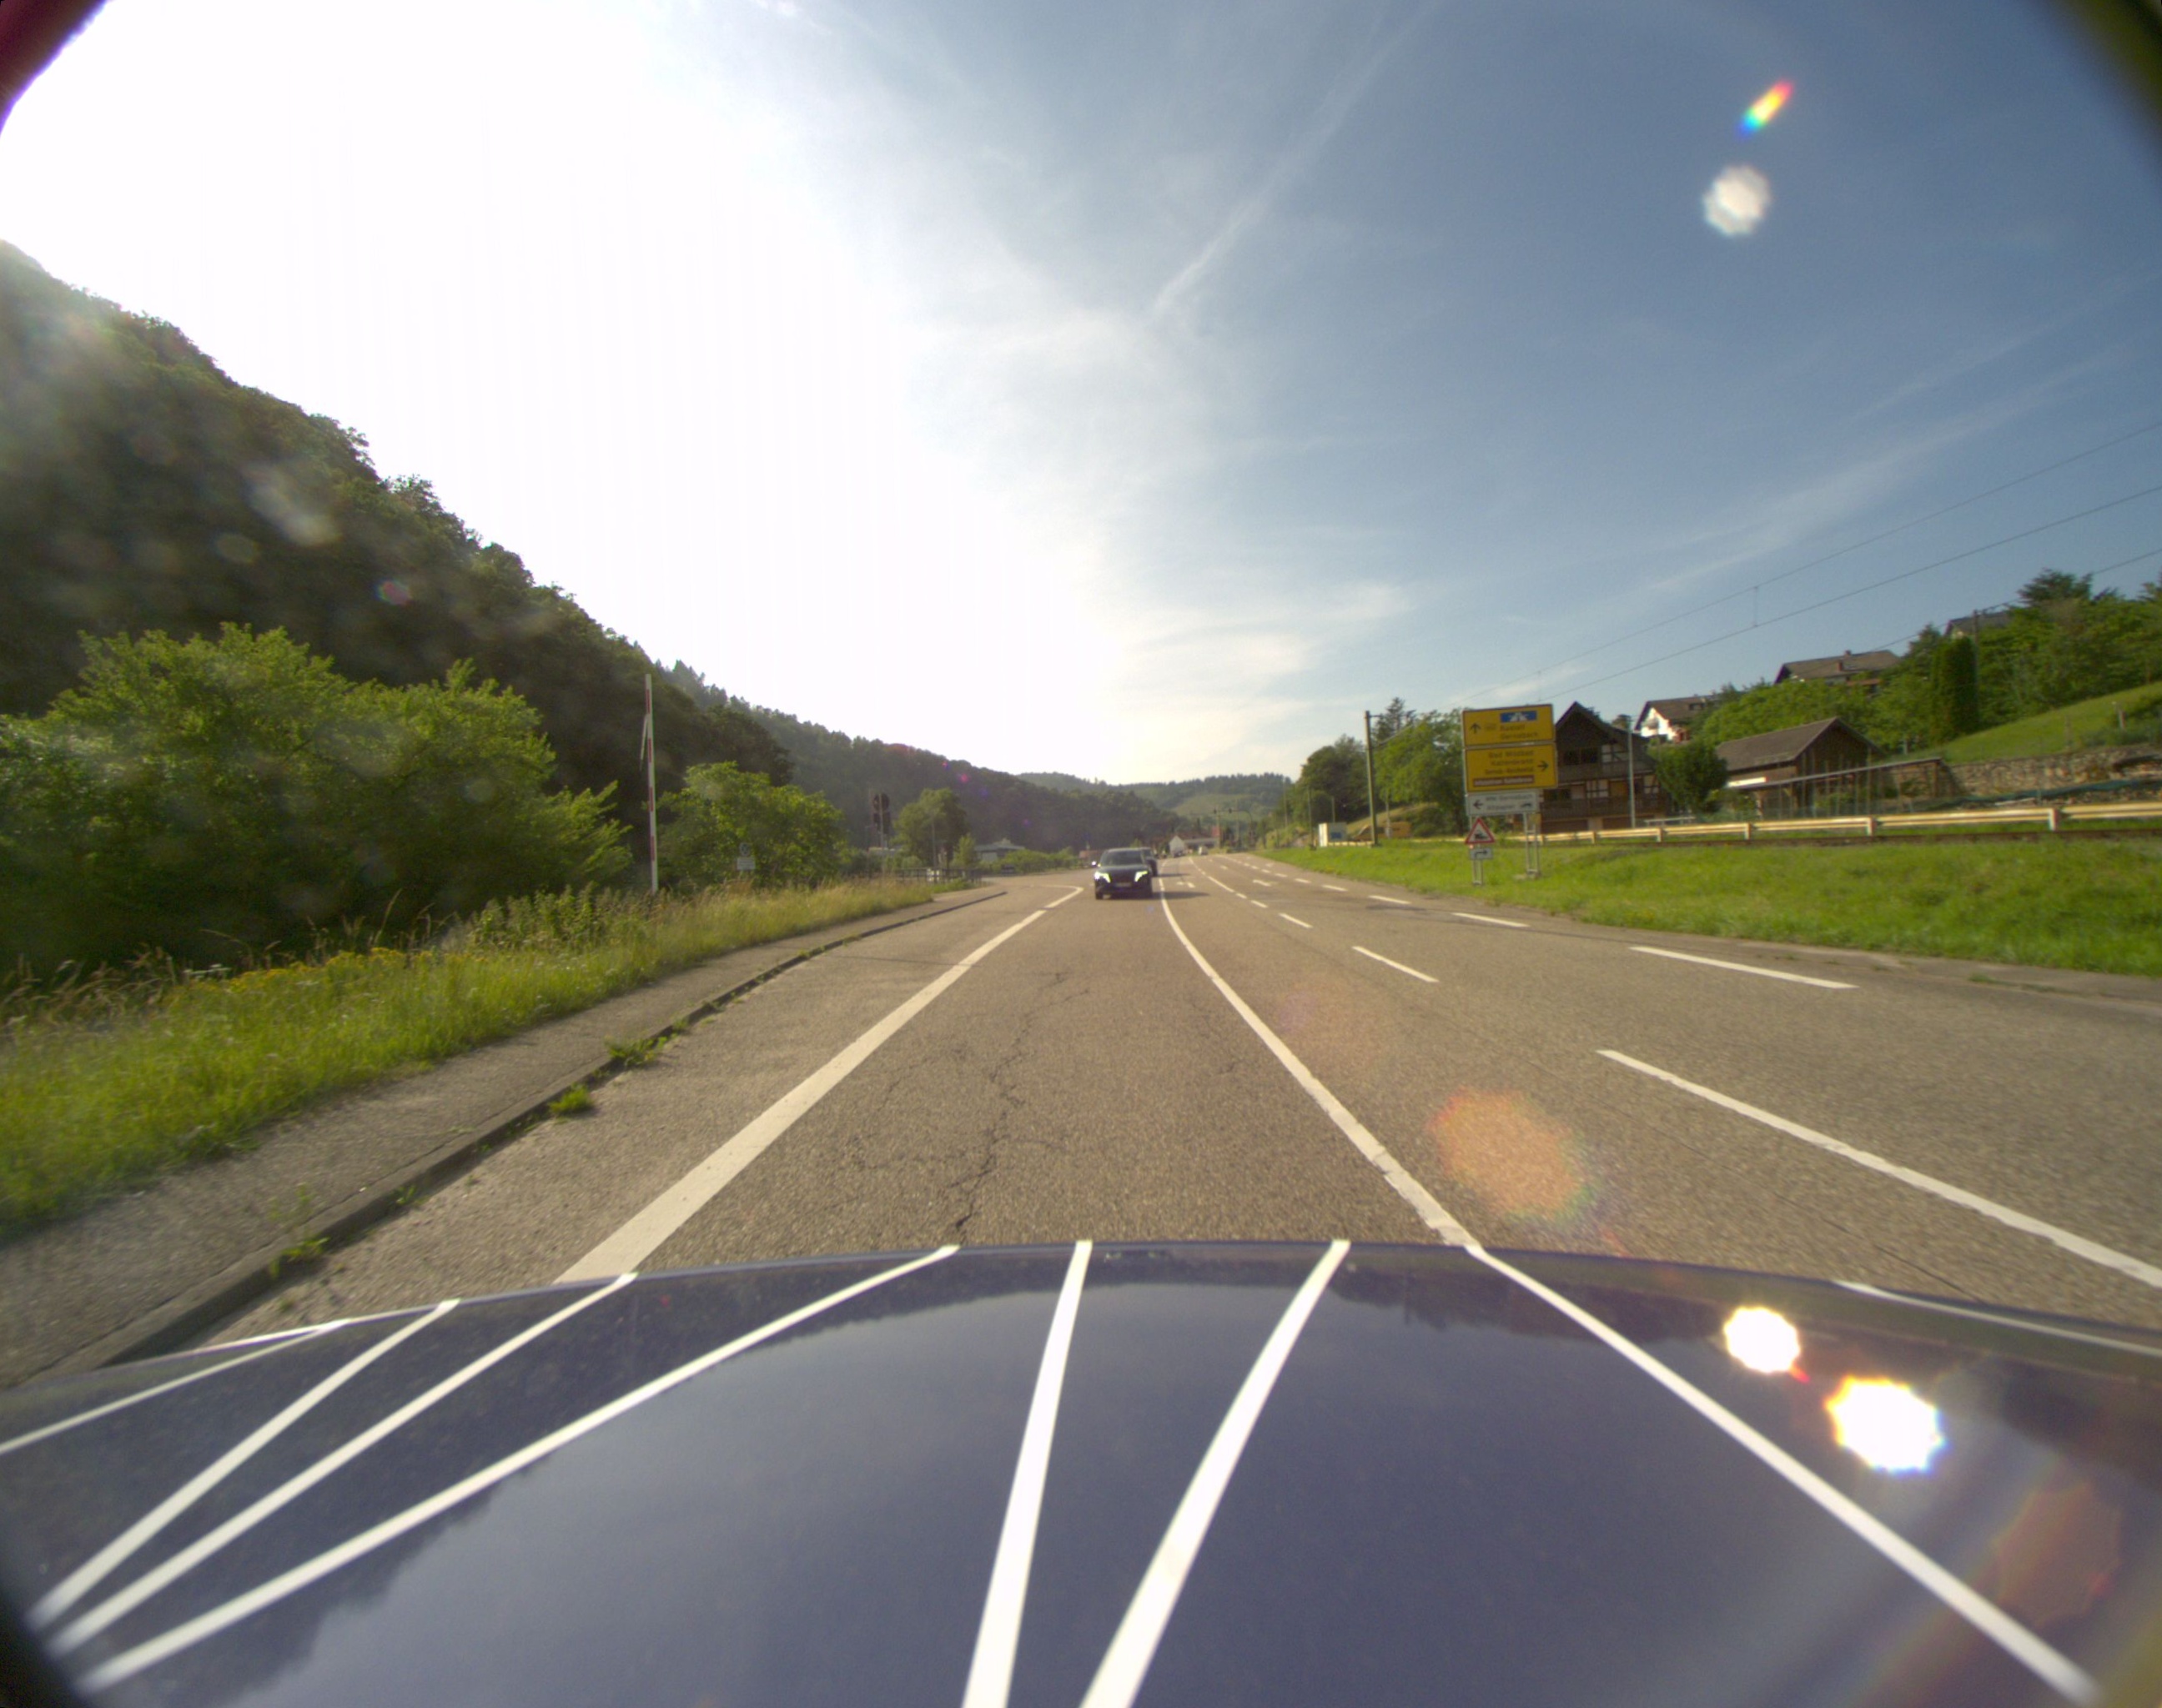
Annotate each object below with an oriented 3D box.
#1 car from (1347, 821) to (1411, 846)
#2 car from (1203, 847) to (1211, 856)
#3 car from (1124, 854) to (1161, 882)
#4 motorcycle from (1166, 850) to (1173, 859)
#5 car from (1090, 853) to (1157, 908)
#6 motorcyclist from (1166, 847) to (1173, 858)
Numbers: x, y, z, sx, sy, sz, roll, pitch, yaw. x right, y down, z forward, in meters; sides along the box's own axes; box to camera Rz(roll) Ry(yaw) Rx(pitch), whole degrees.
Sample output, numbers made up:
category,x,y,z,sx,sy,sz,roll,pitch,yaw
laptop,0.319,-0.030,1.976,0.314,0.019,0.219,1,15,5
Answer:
category,x,y,z,sx,sy,sz,roll,pitch,yaw
car,36.504,-2.437,93.378,7.074,2.442,2.952,-5,0,18
car,36.163,-0.658,218.189,2.123,2.422,5.231,-5,-1,9
car,3.540,0.789,44.583,1.919,1.455,4.001,-5,0,3
motorcycle,13.255,0.095,113.813,1.004,1.261,2.595,-5,0,8
car,1.560,0.852,26.421,1.998,1.660,5.513,-3,-1,5
motorcyclist,13.267,-0.190,114.007,0.990,1.535,1.187,-6,0,8
